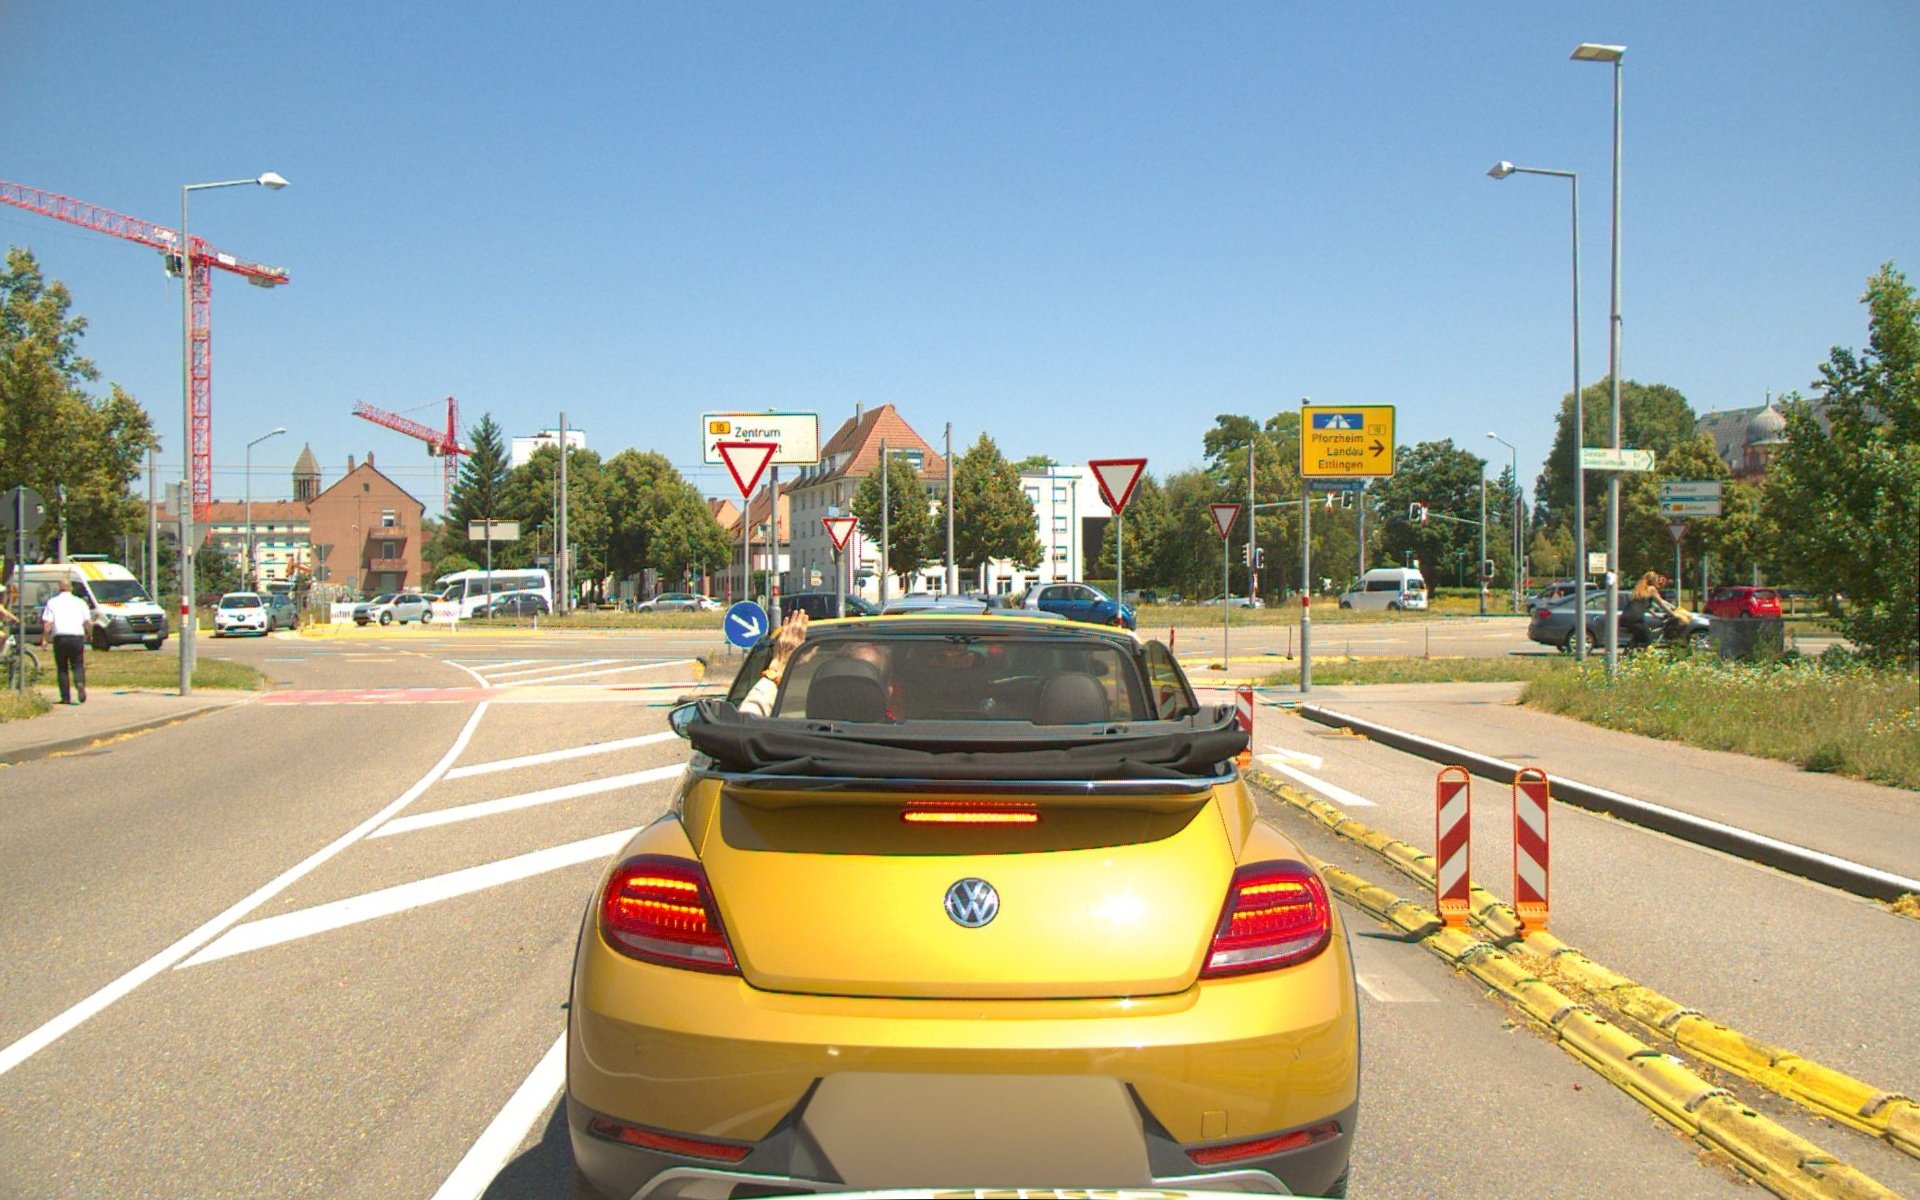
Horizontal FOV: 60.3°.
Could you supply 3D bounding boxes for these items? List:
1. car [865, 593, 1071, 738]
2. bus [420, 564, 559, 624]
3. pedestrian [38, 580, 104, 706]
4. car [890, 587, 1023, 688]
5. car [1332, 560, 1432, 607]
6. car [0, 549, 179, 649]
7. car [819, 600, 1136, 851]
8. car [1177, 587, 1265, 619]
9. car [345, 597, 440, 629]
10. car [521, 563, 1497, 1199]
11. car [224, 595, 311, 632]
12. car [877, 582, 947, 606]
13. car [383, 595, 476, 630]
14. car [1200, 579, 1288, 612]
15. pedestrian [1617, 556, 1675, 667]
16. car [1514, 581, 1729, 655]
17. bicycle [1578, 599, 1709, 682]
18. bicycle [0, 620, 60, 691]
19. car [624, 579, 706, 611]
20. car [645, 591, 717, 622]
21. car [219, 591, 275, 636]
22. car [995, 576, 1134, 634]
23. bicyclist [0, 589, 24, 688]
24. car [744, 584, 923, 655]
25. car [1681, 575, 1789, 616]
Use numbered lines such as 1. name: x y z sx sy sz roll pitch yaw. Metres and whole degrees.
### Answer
1. car: 0.052 0.664 18.555 2.023 1.406 4.257 1 0 -1
2. bus: -26.421 -0.292 93.084 7.203 3.228 2.230 1 -1 -39
3. pedestrian: -13.101 0.623 24.373 0.632 1.817 0.955 1 -1 -41
4. car: -0.080 0.556 27.559 2.023 1.506 4.542 -1 0 -1
5. car: 22.574 -0.881 88.646 1.969 2.439 5.267 1 0 -33
6. car: -26.789 -0.067 50.124 6.731 2.877 1.997 1 0 28
7. car: 0.072 0.724 11.660 1.814 1.389 4.257 -1 0 -1
8. car: 16.701 0.177 106.011 5.219 1.996 1.987 1 0 35
9. car: -26.609 0.610 77.670 1.693 1.427 4.267 1 0 25
10. car: 0.061 0.711 5.082 1.729 1.507 4.257 1 0 -1
11. car: -27.635 0.541 66.137 1.711 1.395 4.329 1 0 -2
12. car: -2.917 -0.350 100.371 4.231 1.395 1.751 1 0 -3
13. car: -28.161 0.657 87.872 4.386 1.766 1.829 1 0 -32
14. car: 18.062 -0.277 105.238 5.208 1.996 1.992 1 0 27
15. pedestrian: 10.858 0.178 26.196 0.717 1.721 0.575 1 -1 9
16. car: 14.976 0.397 37.628 4.237 1.579 1.729 1 0 8
17. bicycle: 10.804 0.640 26.191 1.803 1.253 0.614 -2 -1 10
18. bicycle: -17.338 0.993 29.869 2.047 1.242 0.634 -1 0 16
19. car: -17.115 -0.296 96.096 4.403 1.766 1.822 1 0 -40
20. car: -16.864 0.393 99.970 3.955 1.803 1.764 1 0 -36
21. car: -25.788 0.467 59.773 1.753 1.554 3.842 -1 0 -25
22. car: 3.048 0.133 47.833 3.902 1.579 1.729 1 0 6
23. bicyclist: -17.426 0.698 29.899 0.656 1.783 0.593 -1 -1 17
24. car: -3.016 0.447 39.611 3.902 1.579 1.730 0 2 14
25. car: 33.239 -0.188 71.054 1.863 1.683 4.329 1 0 -15
